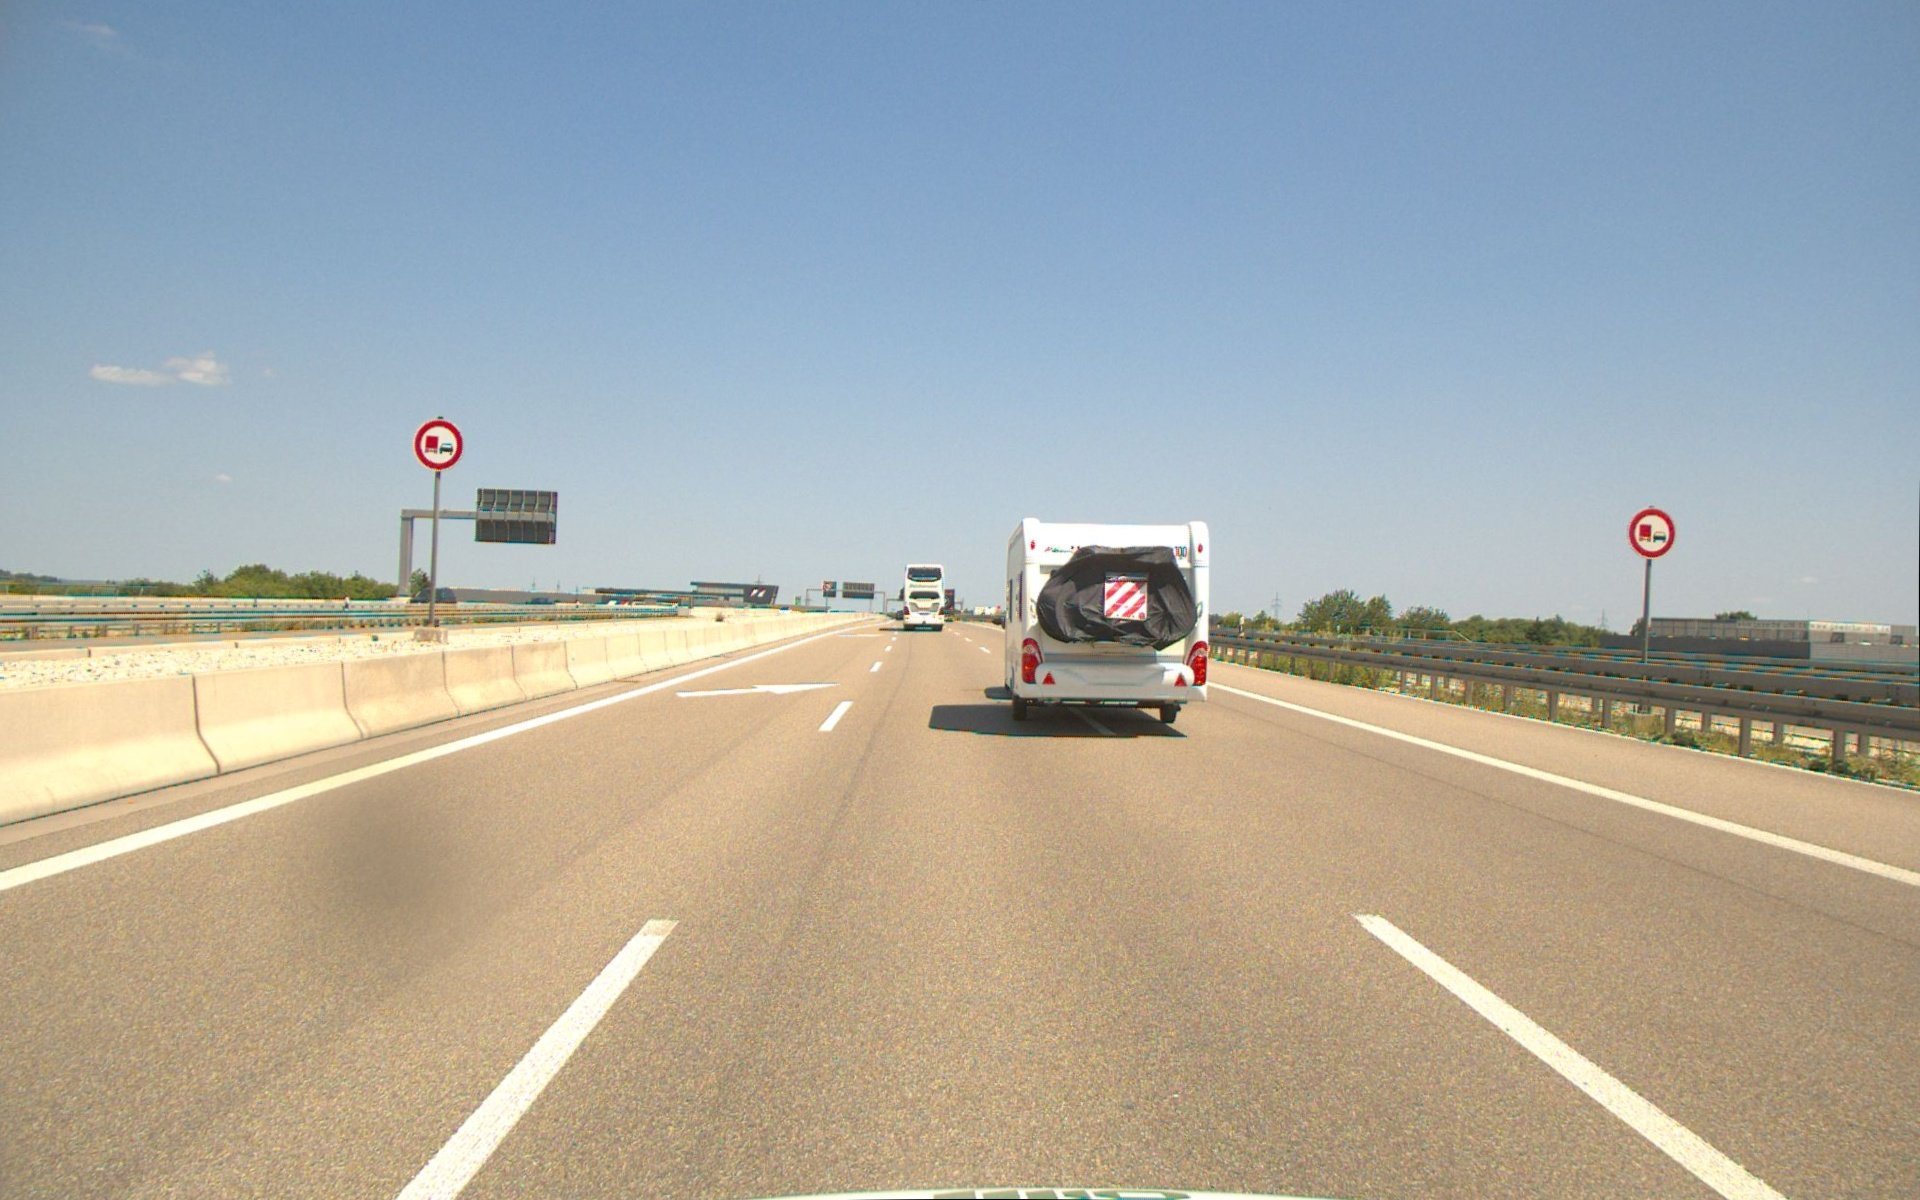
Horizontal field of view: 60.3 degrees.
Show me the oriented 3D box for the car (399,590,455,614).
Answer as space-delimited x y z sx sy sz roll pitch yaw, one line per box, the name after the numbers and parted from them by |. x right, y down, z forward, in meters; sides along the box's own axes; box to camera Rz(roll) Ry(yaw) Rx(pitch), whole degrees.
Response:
-32.633 0.111 101.442 1.952 1.403 4.362 1 0 1 | car

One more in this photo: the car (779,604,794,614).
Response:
-25.482 1.302 243.068 1.773 1.460 4.440 1 0 -2 | car

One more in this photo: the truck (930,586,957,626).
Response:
-2.151 0.847 214.897 3.311 4.542 13.562 1 -3 -1 | truck

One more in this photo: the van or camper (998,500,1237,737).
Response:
1.876 0.212 22.619 2.461 2.638 7.816 1 0 0 | van or camper

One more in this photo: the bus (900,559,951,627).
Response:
-2.260 -0.423 105.366 2.921 4.044 9.099 1 0 -3 | bus
